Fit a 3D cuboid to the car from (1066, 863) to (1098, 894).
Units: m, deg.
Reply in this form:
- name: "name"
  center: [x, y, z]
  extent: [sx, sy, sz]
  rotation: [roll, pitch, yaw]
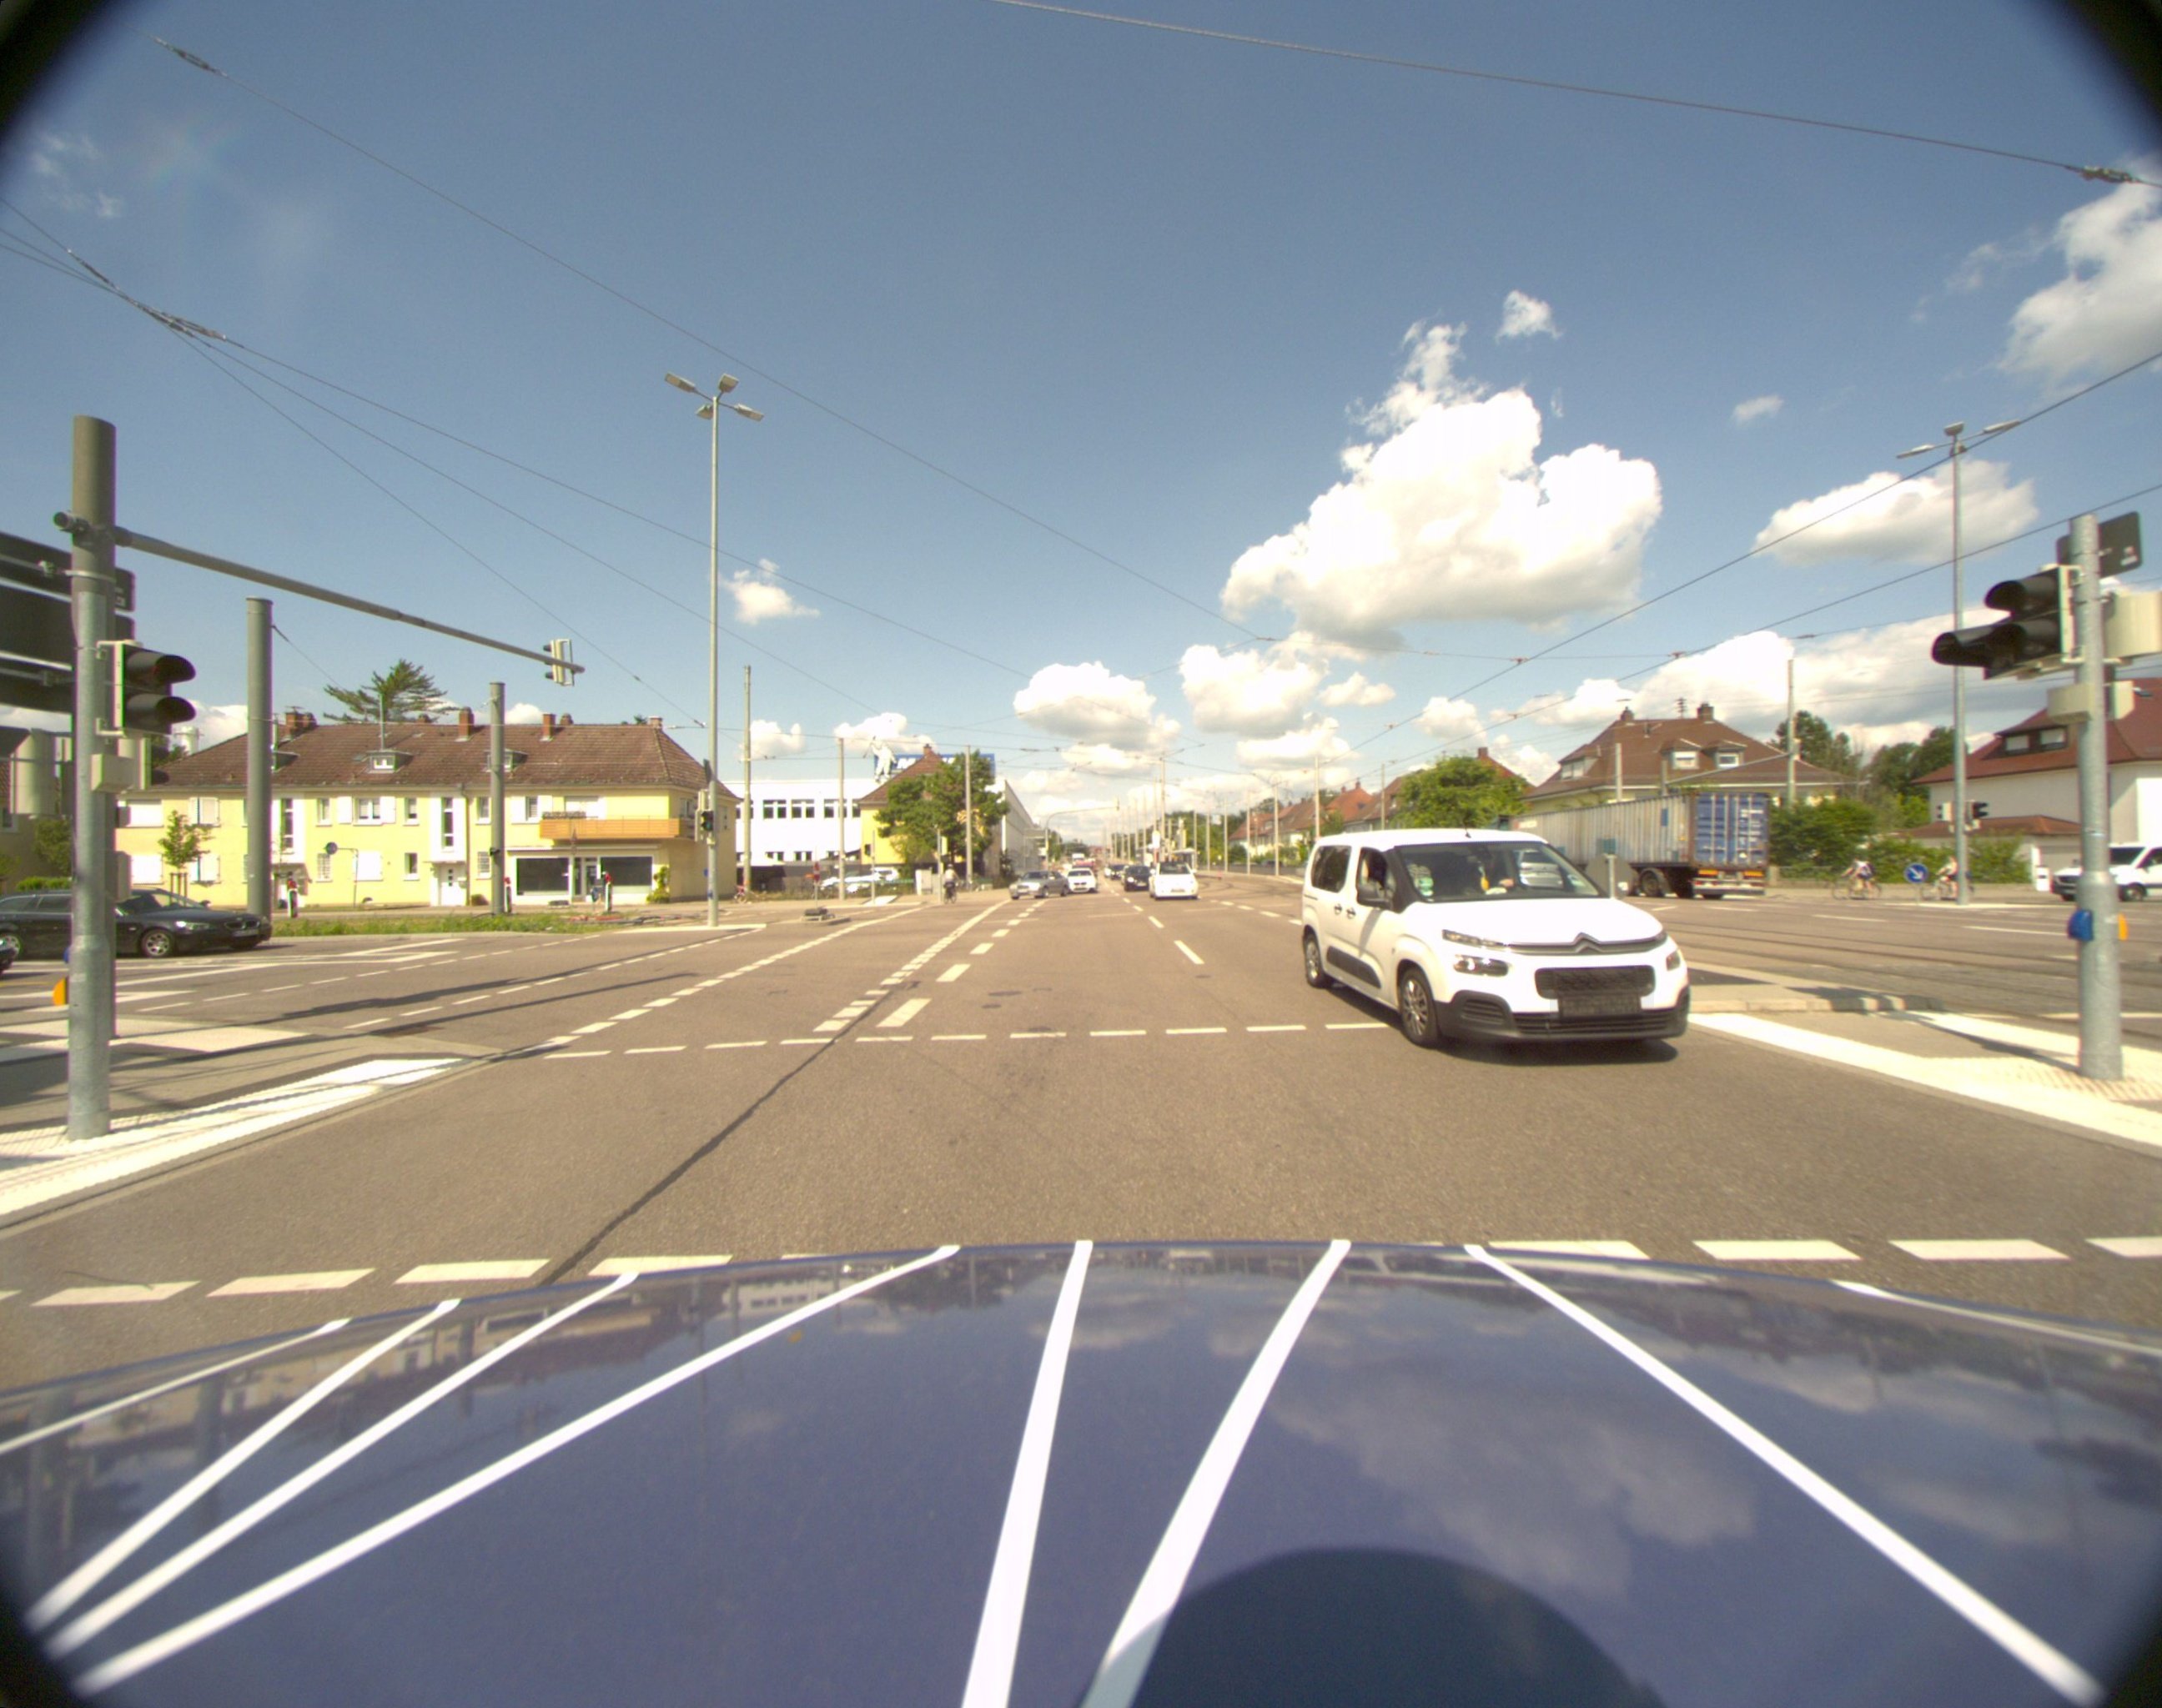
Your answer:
- name: "car"
  center: [0.025, 1.359, 42.983]
  extent: [1.664, 1.564, 3.999]
  rotation: [-2, 0, -1]

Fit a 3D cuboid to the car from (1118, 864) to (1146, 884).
- name: "car"
  center: [3.823, 1.492, 57.621]
  extent: [1.698, 1.350, 4.498]
  rotation: [-2, 0, -1]

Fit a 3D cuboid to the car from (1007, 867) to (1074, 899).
- name: "car"
  center: [-1.932, 1.405, 37.776]
  extent: [1.723, 1.389, 4.469]
  rotation: [-2, -1, 19]

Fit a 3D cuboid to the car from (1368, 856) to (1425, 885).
- name: "car"
  center: [19.075, 0.960, 46.119]
  extent: [1.798, 1.627, 4.472]
  rotation: [0, 0, 3]

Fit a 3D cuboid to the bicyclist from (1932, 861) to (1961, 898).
- name: "bicyclist"
  center: [35.937, 1.035, 31.552]
  extent: [0.501, 1.489, 0.602]
  rotation: [-2, 1, 3]

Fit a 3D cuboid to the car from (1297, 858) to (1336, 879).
- name: "car"
  center: [19.433, 1.192, 62.850]
  extent: [1.998, 1.543, 4.178]
  rotation: [2, 0, 1]

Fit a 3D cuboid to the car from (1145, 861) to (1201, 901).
- name: "car"
  center: [3.710, 1.057, 31.091]
  extent: [1.680, 1.495, 3.393]
  rotation: [-2, 0, -2]

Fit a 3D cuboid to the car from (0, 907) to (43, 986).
- name: "car"
  center: [-20.415, 1.671, 12.400]
  extent: [4.327, 1.301, 1.739]
  rotation: [-2, 0, -2]

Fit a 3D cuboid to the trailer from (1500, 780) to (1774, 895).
- name: "trailer"
  center: [22.146, -0.425, 31.829]
  extent: [2.605, 3.798, 12.841]
  rotation: [1, -1, 3]

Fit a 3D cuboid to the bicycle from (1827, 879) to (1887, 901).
- name: "bicycle"
  center: [32.346, 1.489, 31.698]
  extent: [1.808, 0.830, 0.602]
  rotation: [-2, 1, 3]

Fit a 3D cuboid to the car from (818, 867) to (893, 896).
- name: "car"
  center: [-13.805, 1.668, 46.733]
  extent: [4.118, 1.587, 1.800]
  rotation: [-1, -1, -5]

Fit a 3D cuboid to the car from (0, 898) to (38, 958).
- name: "car"
  center: [-26.508, 1.681, 16.791]
  extent: [4.327, 1.321, 1.739]
  rotation: [0, 0, -2]

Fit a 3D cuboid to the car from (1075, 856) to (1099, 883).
- name: "car"
  center: [0.466, 1.251, 63.421]
  extent: [1.787, 2.134, 5.169]
  rotation: [-2, 0, -1]

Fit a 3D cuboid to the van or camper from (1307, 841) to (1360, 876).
- name: "van or camper"
  center: [22.731, 0.316, 68.813]
  extent: [2.330, 2.913, 7.752]
  rotation: [0, 2, 1]

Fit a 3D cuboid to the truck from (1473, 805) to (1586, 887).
- name: "truck"
  center: [22.514, -0.325, 38.507]
  extent: [2.605, 3.798, 5.669]
  rotation: [1, -1, 3]

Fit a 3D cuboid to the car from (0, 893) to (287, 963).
- name: "car"
  center: [-20.386, 1.565, 16.495]
  extent: [4.327, 1.321, 1.739]
  rotation: [0, 0, -2]

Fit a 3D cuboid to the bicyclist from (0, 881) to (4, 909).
- name: "bicyclist"
  center: [-48.351, 1.844, 33.646]
  extent: [0.578, 1.227, 0.509]
  rotation: [-1, 0, -4]

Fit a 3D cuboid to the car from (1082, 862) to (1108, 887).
- name: "car"
  center: [0.954, 1.418, 53.404]
  extent: [1.664, 1.529, 3.999]
  rotation: [-2, 0, -1]

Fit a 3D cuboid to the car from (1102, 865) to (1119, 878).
- name: "car"
  center: [3.518, 2.124, 91.109]
  extent: [1.698, 1.350, 4.498]
  rotation: [-2, 0, -1]

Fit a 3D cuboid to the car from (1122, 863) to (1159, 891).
- name: "car"
  center: [3.345, 1.251, 43.256]
  extent: [1.680, 1.414, 3.558]
  rotation: [-2, 0, -2]

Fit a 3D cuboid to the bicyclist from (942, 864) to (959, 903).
- name: "bicyclist"
  center: [-5.918, 1.321, 34.503]
  extent: [0.652, 1.727, 0.984]
  rotation: [-2, 1, -6]

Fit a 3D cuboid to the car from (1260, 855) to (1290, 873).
- name: "car"
  center: [19.372, 0.973, 76.163]
  extent: [1.998, 1.766, 4.880]
  rotation: [1, 0, 3]

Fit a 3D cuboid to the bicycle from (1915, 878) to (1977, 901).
- name: "bicycle"
  center: [35.916, 1.467, 31.556]
  extent: [1.808, 0.830, 0.602]
  rotation: [-2, 1, 3]

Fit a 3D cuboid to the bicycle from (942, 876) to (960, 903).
- name: "bicycle"
  center: [-5.910, 1.614, 34.543]
  extent: [0.652, 1.111, 1.587]
  rotation: [-2, 0, -6]

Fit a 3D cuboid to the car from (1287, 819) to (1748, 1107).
- name: "car"
  center: [3.423, 0.704, 7.099]
  extent: [1.799, 1.804, 4.329]
  rotation: [-2, 0, 0]

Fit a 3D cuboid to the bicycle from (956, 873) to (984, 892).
- name: "bicycle"
  center: [-6.652, 1.706, 45.502]
  extent: [0.462, 1.012, 1.759]
  rotation: [-2, 1, 41]

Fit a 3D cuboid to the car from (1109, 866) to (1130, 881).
- name: "car"
  center: [3.889, 1.935, 77.339]
  extent: [1.698, 1.350, 4.498]
  rotation: [-2, 0, -1]

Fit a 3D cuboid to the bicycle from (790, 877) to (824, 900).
- name: "bicycle"
  center: [-14.088, 1.769, 39.122]
  extent: [1.576, 1.131, 0.380]
  rotation: [-3, 1, -27]

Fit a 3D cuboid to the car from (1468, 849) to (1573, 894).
- name: "car"
  center: [18.690, 0.689, 32.615]
  extent: [1.799, 1.804, 4.712]
  rotation: [0, 0, 0]

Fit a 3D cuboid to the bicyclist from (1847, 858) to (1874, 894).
- name: "bicyclist"
  center: [32.489, 0.906, 31.677]
  extent: [0.501, 1.489, 0.602]
  rotation: [-2, 1, 3]

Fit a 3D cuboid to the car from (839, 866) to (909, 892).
- name: "car"
  center: [-13.422, 1.623, 49.445]
  extent: [4.118, 1.587, 1.800]
  rotation: [-1, -1, -5]

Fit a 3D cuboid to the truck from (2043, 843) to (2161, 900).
- name: "truck"
  center: [40.064, 0.577, 28.172]
  extent: [6.198, 1.910, 1.690]
  rotation: [-2, 0, 4]

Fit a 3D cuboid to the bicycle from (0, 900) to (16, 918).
- name: "bicycle"
  center: [-48.347, 2.439, 33.628]
  extent: [1.584, 0.776, 0.505]
  rotation: [-1, 0, -4]
